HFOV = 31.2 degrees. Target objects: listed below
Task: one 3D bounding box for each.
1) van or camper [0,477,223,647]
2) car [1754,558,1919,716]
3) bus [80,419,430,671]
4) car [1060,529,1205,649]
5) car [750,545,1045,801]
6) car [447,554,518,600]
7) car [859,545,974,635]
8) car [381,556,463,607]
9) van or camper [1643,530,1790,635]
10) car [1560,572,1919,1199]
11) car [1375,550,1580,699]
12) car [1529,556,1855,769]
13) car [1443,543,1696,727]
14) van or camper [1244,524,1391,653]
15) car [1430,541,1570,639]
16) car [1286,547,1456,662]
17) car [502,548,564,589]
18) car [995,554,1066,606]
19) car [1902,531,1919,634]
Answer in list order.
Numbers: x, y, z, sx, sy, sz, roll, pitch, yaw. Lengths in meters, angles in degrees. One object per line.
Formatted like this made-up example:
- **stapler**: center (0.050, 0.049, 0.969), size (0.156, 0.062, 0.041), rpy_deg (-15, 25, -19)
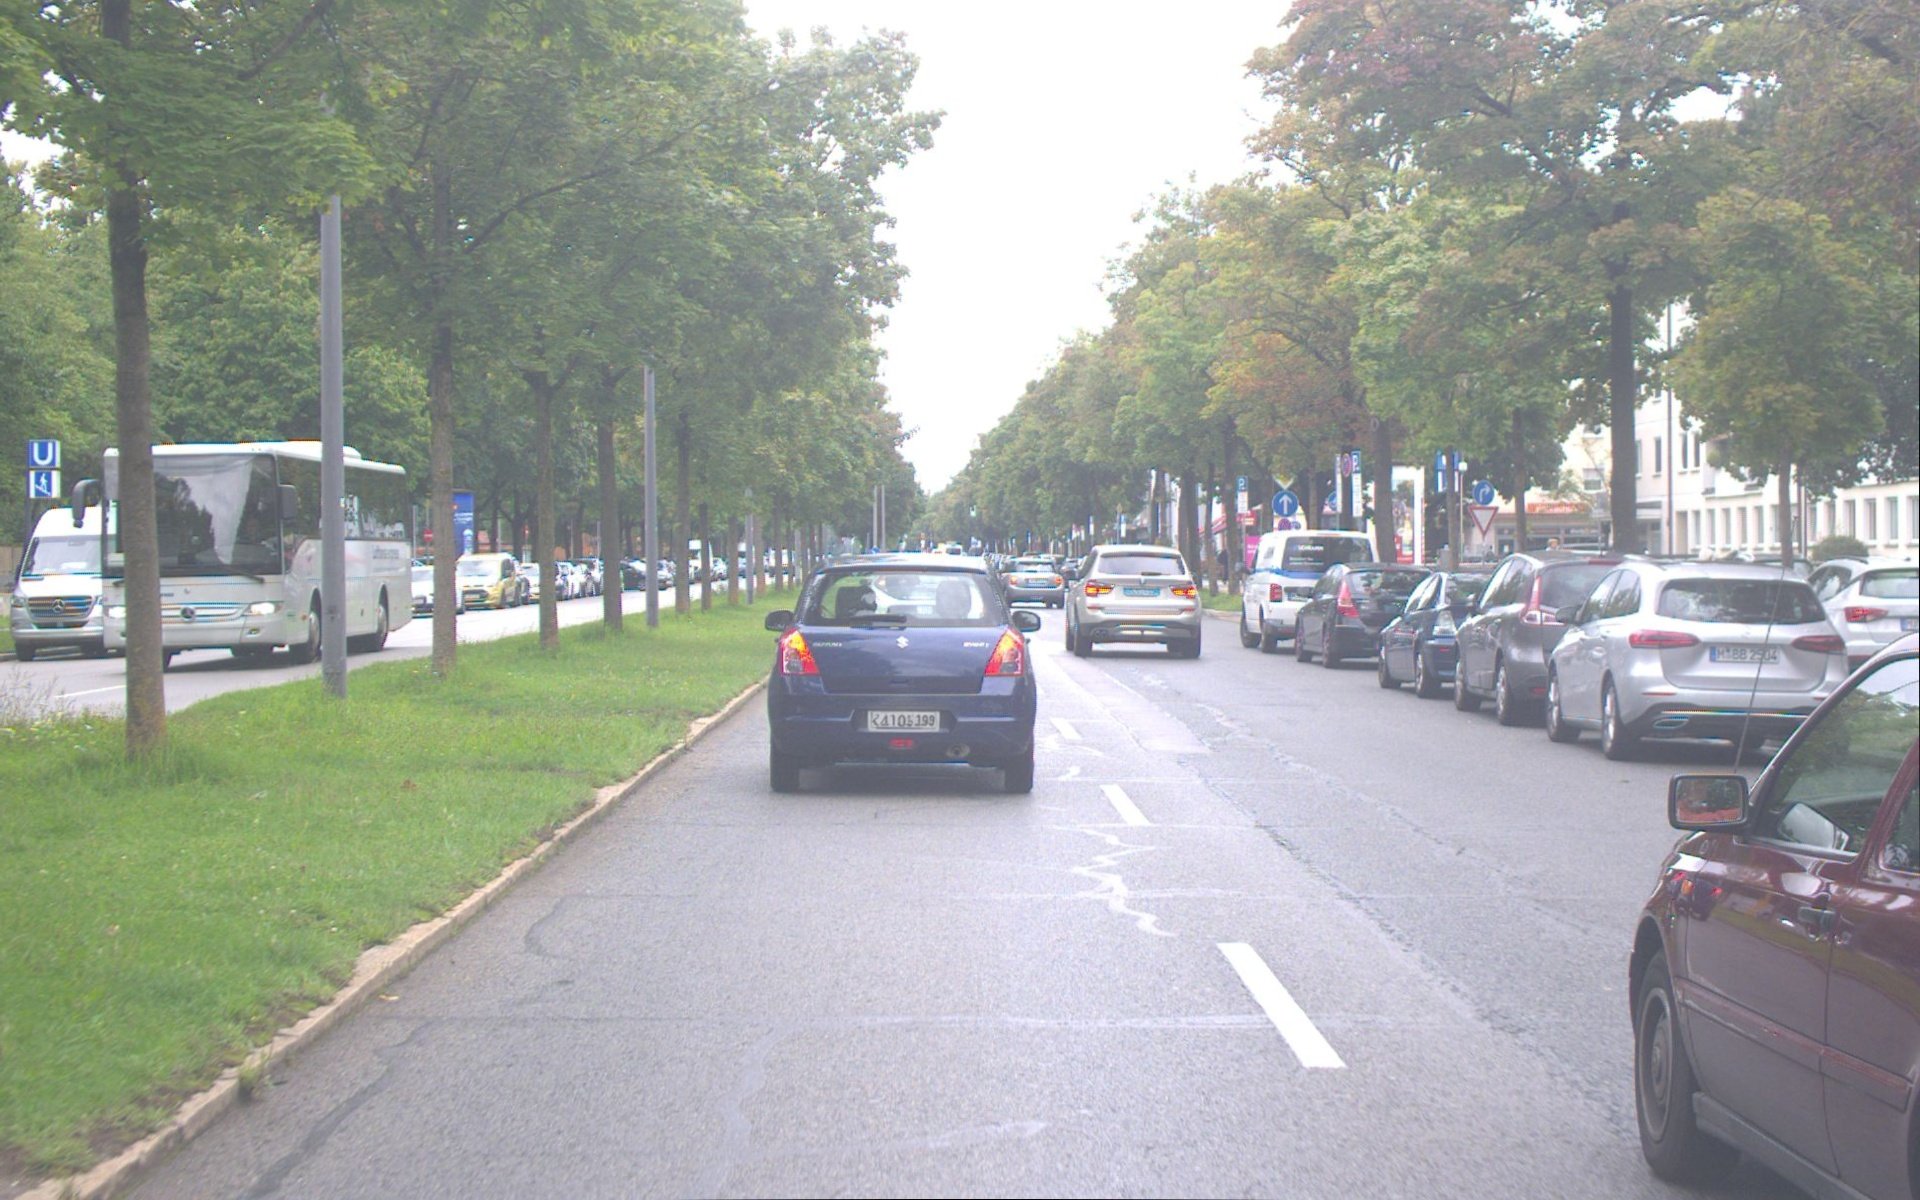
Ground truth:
- **van or camper**: center (-15.044, -0.700, 60.958), size (2.309, 2.823, 7.493), rpy_deg (0, 1, 0)
- **car**: center (9.846, 0.349, 36.921), size (1.684, 1.580, 4.028), rpy_deg (0, 1, 0)
- **bus**: center (-10.578, -0.854, 53.098), size (2.738, 3.366, 12.013), rpy_deg (-2, 1, 0)
- **car**: center (2.562, -0.190, 51.925), size (1.850, 1.737, 4.098), rpy_deg (0, 1, -2)
- **car**: center (-0.442, 0.410, 22.896), size (1.789, 1.550, 4.000), rpy_deg (0, 1, -2)
- **car**: center (-15.345, -0.763, 110.654), size (1.850, 1.442, 4.098), rpy_deg (0, 1, -2)
- **car**: center (-0.768, -0.196, 57.901), size (1.850, 1.442, 4.098), rpy_deg (0, 1, -2)
- **car**: center (-15.642, -0.551, 100.114), size (1.850, 1.442, 4.098), rpy_deg (0, 1, -2)
- **van or camper**: center (14.641, -0.365, 66.756), size (1.944, 1.968, 4.306), rpy_deg (0, 1, 1)
- **car**: center (2.392, 0.686, 6.936), size (1.622, 1.449, 3.950), rpy_deg (0, 1, -1)
- **car**: center (5.707, 0.228, 38.329), size (1.684, 1.548, 4.306), rpy_deg (0, 1, 1)
- **car**: center (5.783, 0.435, 27.674), size (1.684, 1.520, 4.456), rpy_deg (1, 1, 1)
- **car**: center (5.803, 0.279, 33.166), size (1.684, 1.620, 4.306), rpy_deg (1, 1, 1)
- **van or camper**: center (5.654, -0.212, 54.855), size (1.944, 1.968, 4.306), rpy_deg (0, 1, 1)
- **car**: center (9.008, -0.192, 57.562), size (1.684, 1.580, 4.028), rpy_deg (0, 1, 0)
- **car**: center (5.763, 0.026, 48.664), size (1.684, 1.548, 4.307), rpy_deg (0, 1, -3)
- **car**: center (-15.390, -1.139, 123.978), size (1.850, 1.442, 4.098), rpy_deg (0, 1, -2)
- **car**: center (2.004, -0.603, 98.755), size (1.850, 1.442, 4.098), rpy_deg (0, 1, -2)
- **car**: center (15.642, -0.258, 52.215), size (1.684, 1.580, 4.027), rpy_deg (0, 1, 2)
